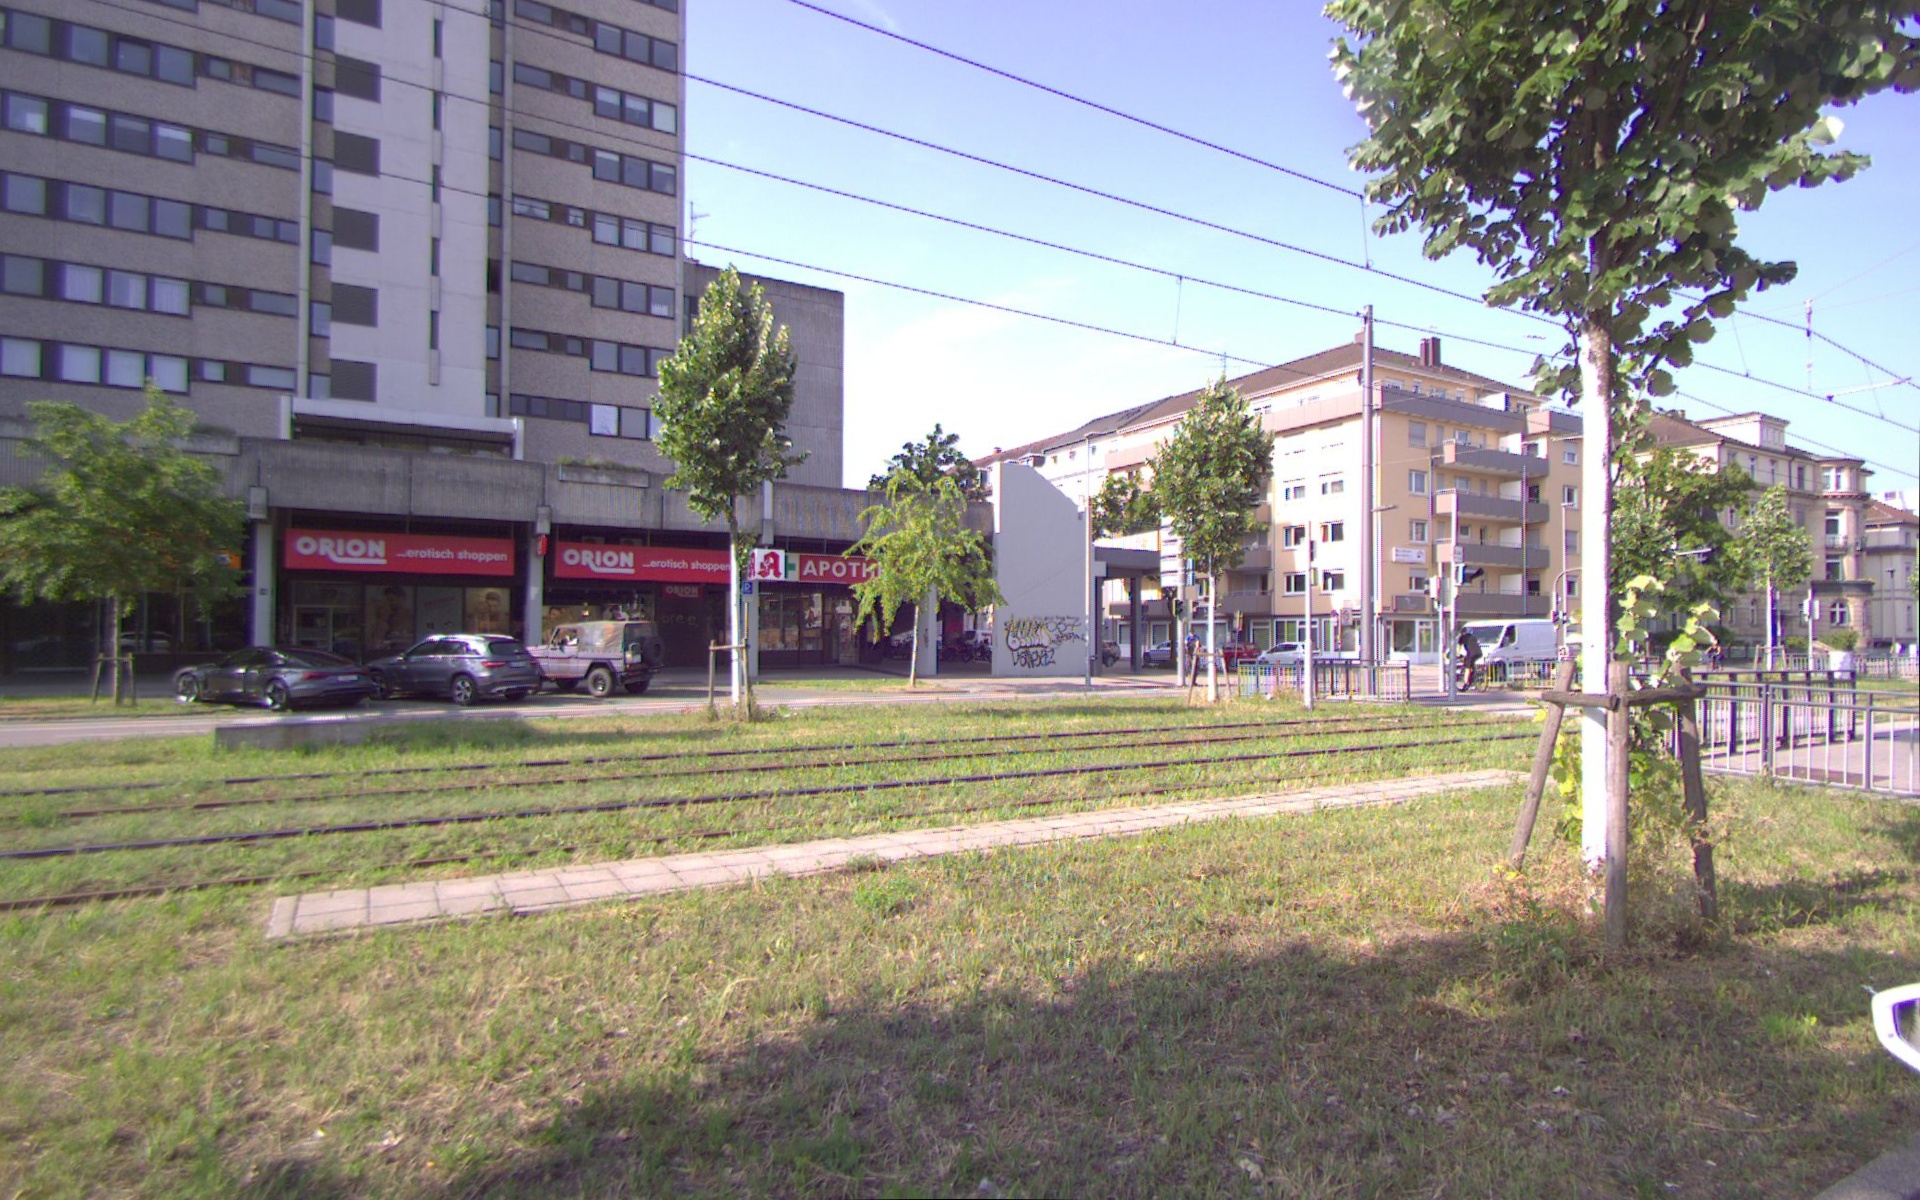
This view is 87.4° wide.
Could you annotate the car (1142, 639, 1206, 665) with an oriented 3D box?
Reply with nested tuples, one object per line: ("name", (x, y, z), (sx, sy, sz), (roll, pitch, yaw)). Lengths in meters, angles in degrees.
("car", (13.769, 3.324, 64.707), (1.796, 1.625, 3.917), (1, -2, -33))

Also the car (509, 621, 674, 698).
("car", (-10.163, 1.604, 27.749), (4.031, 1.994, 1.879), (-1, -2, 21))

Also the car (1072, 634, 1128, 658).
("car", (9.999, 3.262, 71.901), (1.797, 1.625, 3.916), (1, -2, -34))

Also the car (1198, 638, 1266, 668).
("car", (16.321, 3.176, 60.467), (1.755, 1.711, 3.766), (1, -2, -32))

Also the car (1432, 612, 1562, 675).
("car", (20.802, 1.665, 38.825), (5.274, 2.268, 2.035), (1, -2, -31))

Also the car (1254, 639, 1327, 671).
("car", (18.562, 3.061, 56.516), (1.690, 1.604, 3.602), (-2, -1, -33))

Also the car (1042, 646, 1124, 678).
("car", (6.863, 3.420, 55.877), (4.334, 1.650, 1.898), (2, 0, -33))

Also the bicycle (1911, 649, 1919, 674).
("bicycle", (38.942, 2.414, 38.927), (0.894, 0.978, 2.961), (2, -2, -42))

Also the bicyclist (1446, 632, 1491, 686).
("bicyclist", (13.890, 1.621, 27.455), (0.536, 1.413, 0.973), (-1, -4, -9))

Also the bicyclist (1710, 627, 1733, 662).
("bicyclist", (41.376, 2.413, 54.581), (1.072, 1.829, 0.665), (1, -2, -34))

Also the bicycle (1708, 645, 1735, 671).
("bicycle", (41.374, 3.128, 54.575), (1.740, 1.364, 0.690), (2, -2, -35))

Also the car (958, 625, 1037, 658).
("car", (2.426, 2.691, 64.857), (4.776, 1.994, 1.984), (2, -3, -30))

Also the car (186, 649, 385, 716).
("car", (-15.747, 1.866, 23.475), (4.031, 1.261, 1.879), (1, 0, 21))

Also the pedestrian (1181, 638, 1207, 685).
("pedestrian", (8.608, 2.251, 36.949), (0.637, 1.712, 0.656), (1, -2, -27))

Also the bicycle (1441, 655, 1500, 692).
("bicycle", (13.904, 2.006, 27.424), (0.547, 0.947, 1.611), (-1, -4, -9))

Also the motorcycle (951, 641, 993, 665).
("motorcycle", (0.651, 2.841, 53.895), (2.116, 1.269, 0.820), (1, -2, -30))

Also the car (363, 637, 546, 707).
("car", (-12.710, 1.755, 25.297), (4.031, 1.627, 1.879), (-1, -2, 21))
